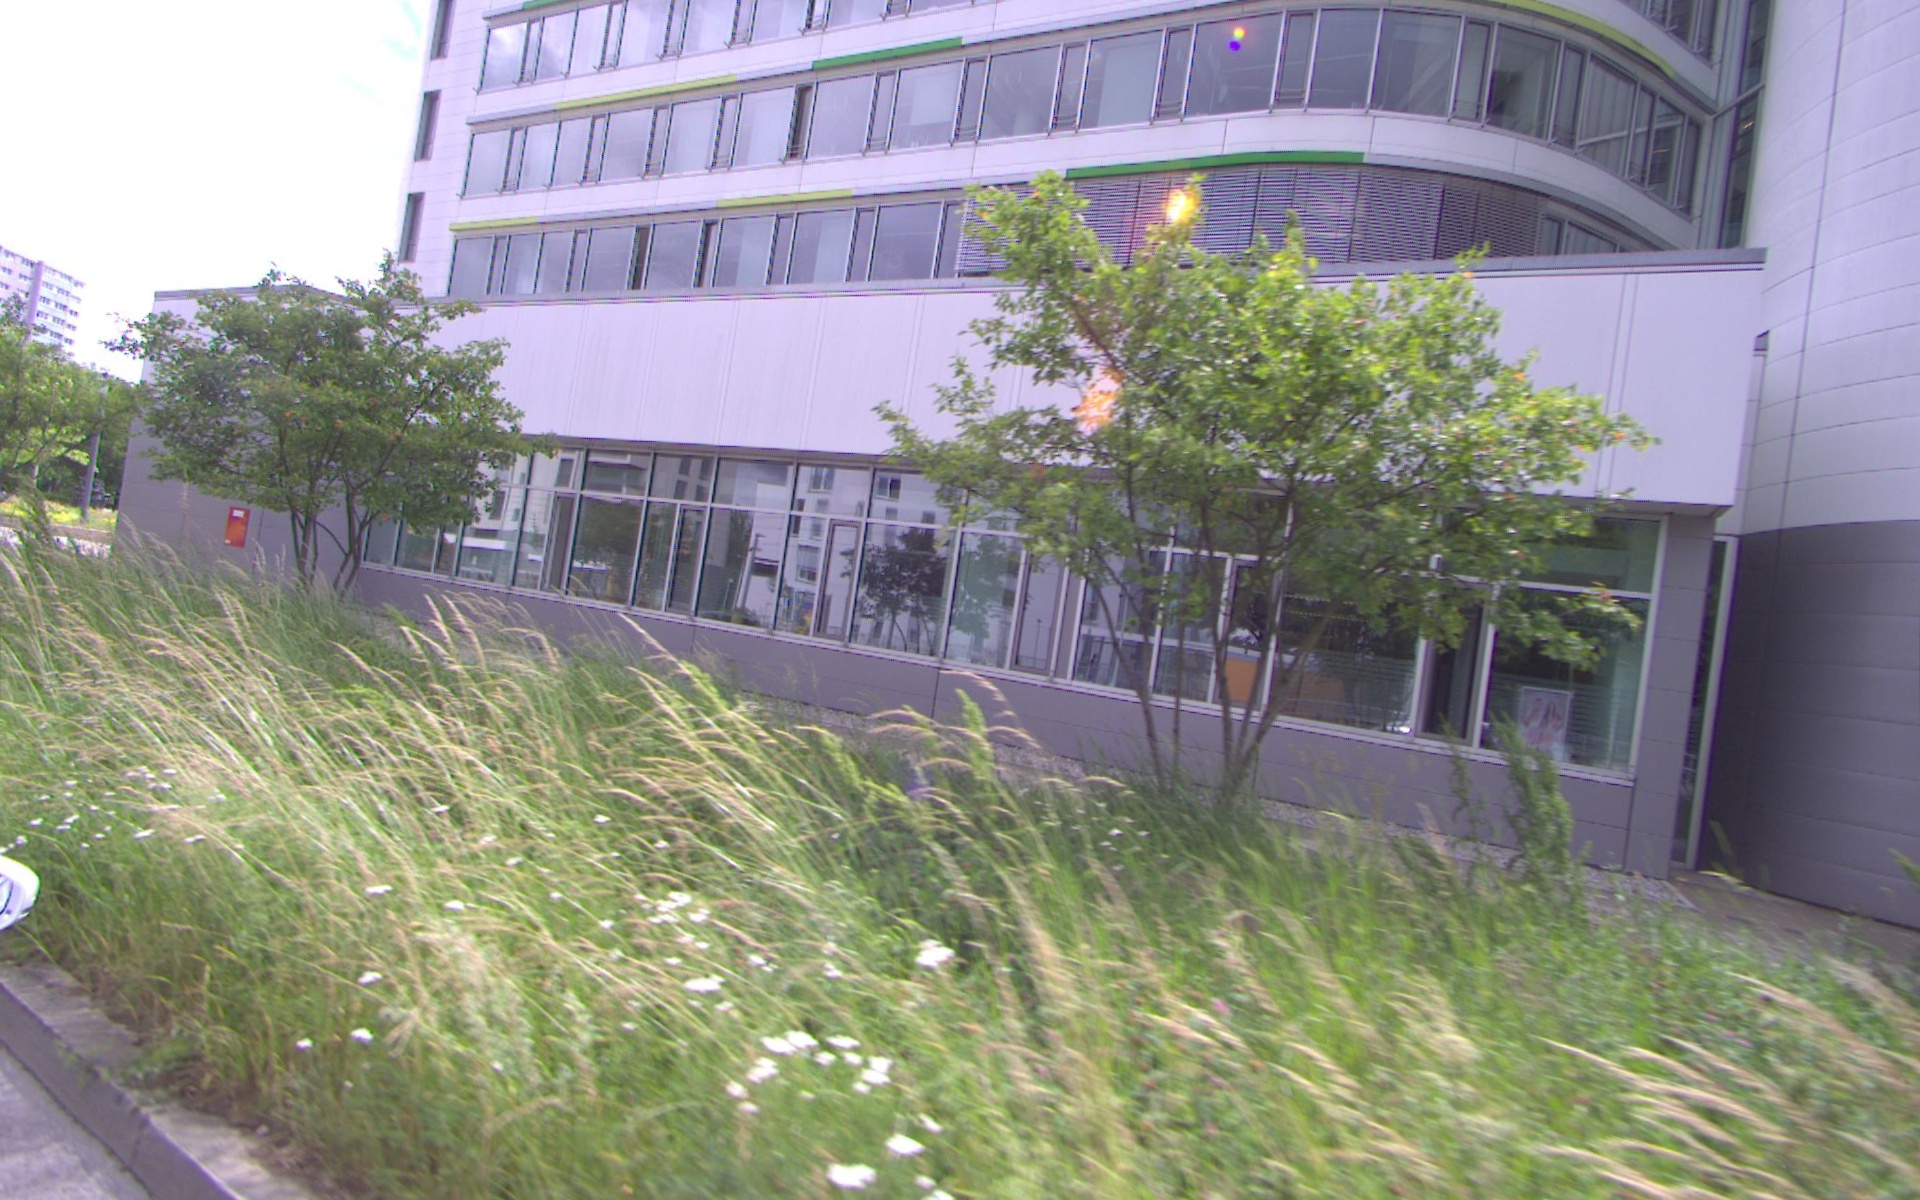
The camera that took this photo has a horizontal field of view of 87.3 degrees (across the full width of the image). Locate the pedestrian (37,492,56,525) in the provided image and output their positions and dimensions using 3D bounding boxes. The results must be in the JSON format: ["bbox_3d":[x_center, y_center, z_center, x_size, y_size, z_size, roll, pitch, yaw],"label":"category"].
[{"bbox_3d":[-58.834,-5.902,64.808,0.399,1.973,0.577,7,-1,29],"label":"pedestrian"}]
